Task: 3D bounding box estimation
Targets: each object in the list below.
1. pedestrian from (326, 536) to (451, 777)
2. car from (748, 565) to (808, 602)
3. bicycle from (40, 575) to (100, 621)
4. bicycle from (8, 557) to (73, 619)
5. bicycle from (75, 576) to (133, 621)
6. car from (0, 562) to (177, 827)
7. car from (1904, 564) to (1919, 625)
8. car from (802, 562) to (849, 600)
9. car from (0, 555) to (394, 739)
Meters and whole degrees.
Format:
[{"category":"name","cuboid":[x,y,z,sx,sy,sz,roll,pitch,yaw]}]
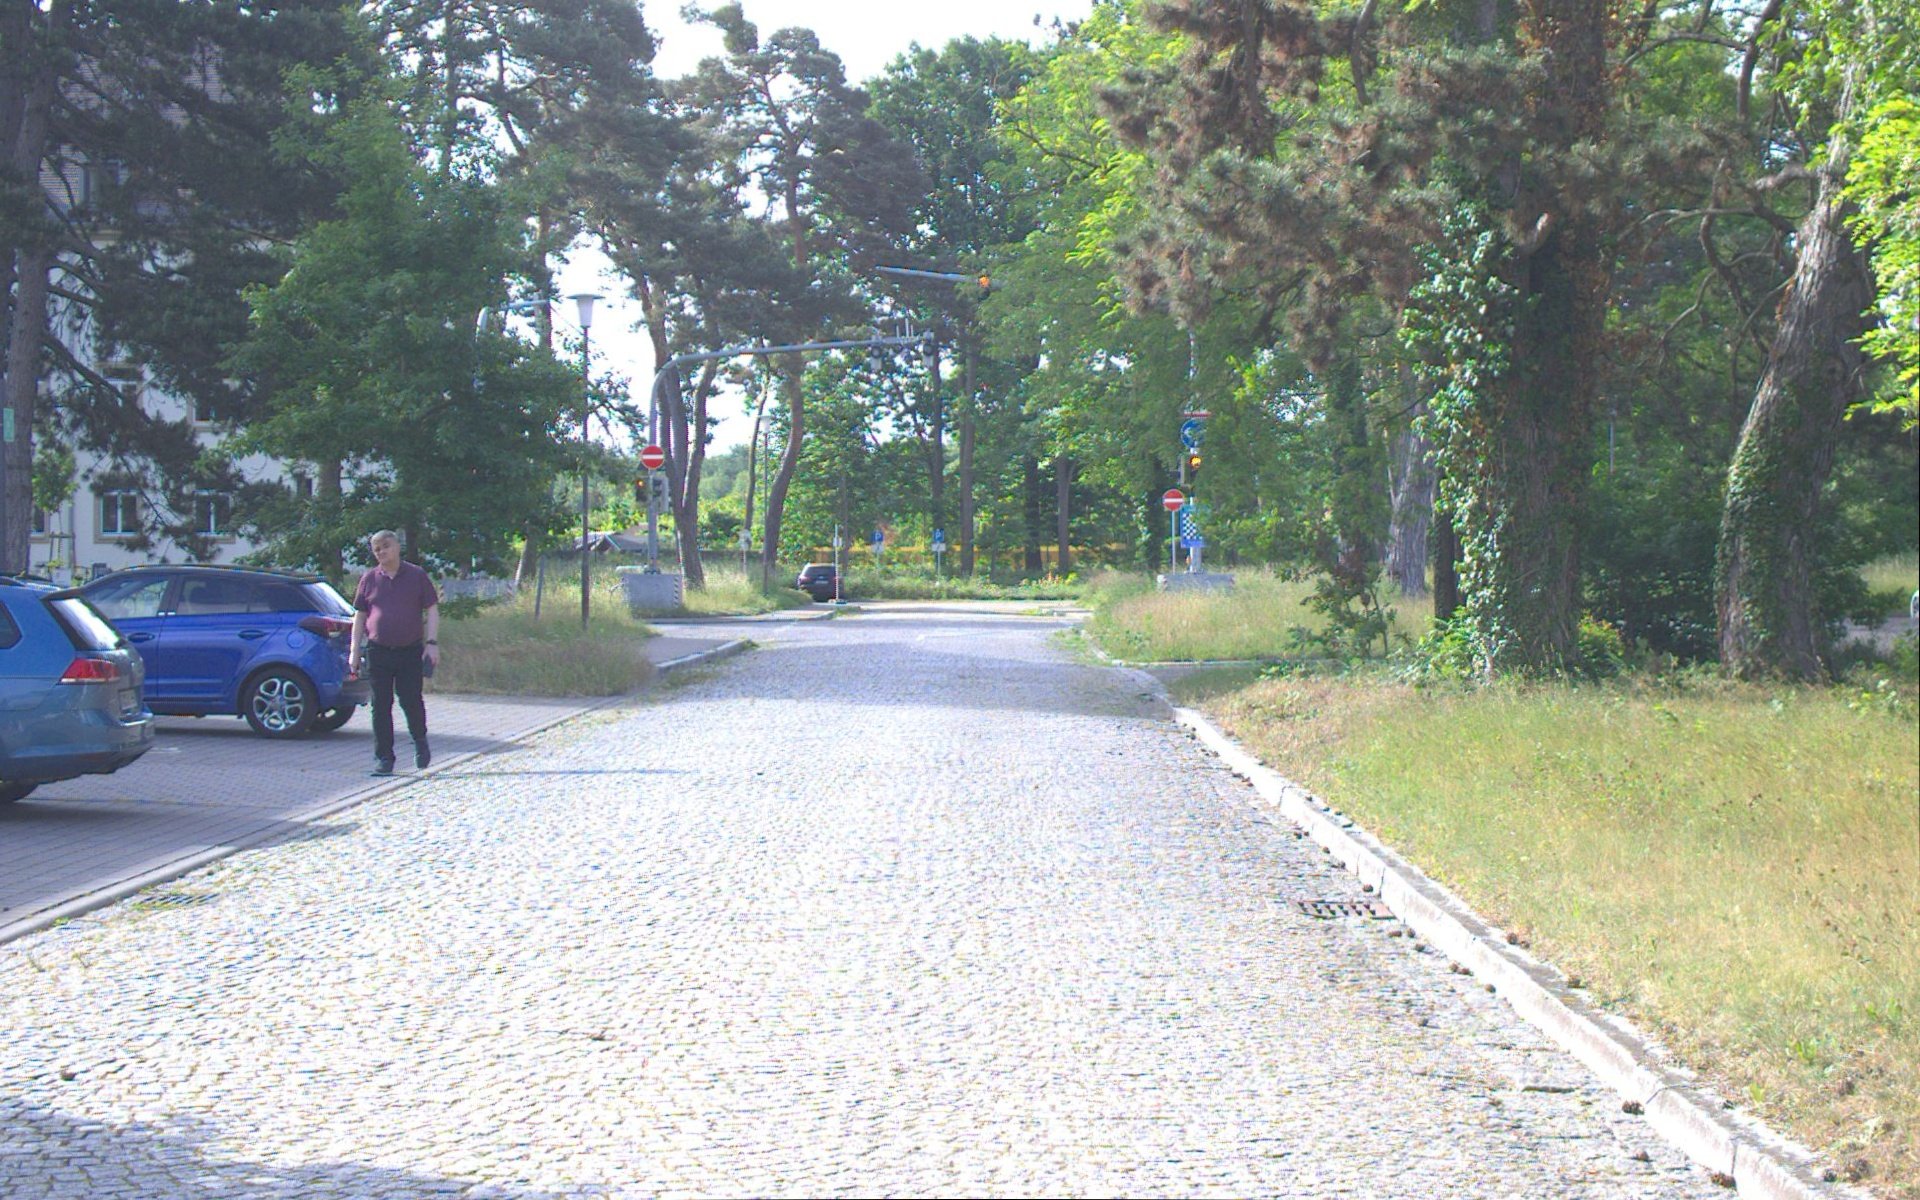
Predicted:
[{"category":"pedestrian","cuboid":[-4.271,0.411,25.756,0.804,1.765,1.153,0,0,-4]},{"category":"car","cuboid":[-7.478,-0.685,141.403,1.783,1.485,3.754,0,1,8]},{"category":"bicycle","cuboid":[-20.819,-0.060,80.461,0.826,1.043,2.124,0,1,0]},{"category":"bicycle","cuboid":[-21.608,-0.293,80.810,0.826,1.432,2.554,0,0,0]},{"category":"bicycle","cuboid":[-20.036,-0.037,80.496,0.826,1.043,2.124,0,1,0]},{"category":"car","cuboid":[-7.073,0.486,20.844,4.256,1.459,1.681,2,2,-2]},{"category":"car","cuboid":[21.482,-0.097,72.533,1.731,1.307,4.332,0,1,-3]},{"category":"car","cuboid":[-5.343,-0.773,136.639,1.845,1.481,4.000,0,1,-2]},{"category":"car","cuboid":[-7.119,0.385,30.429,3.836,1.459,1.719,2,0,3]}]
